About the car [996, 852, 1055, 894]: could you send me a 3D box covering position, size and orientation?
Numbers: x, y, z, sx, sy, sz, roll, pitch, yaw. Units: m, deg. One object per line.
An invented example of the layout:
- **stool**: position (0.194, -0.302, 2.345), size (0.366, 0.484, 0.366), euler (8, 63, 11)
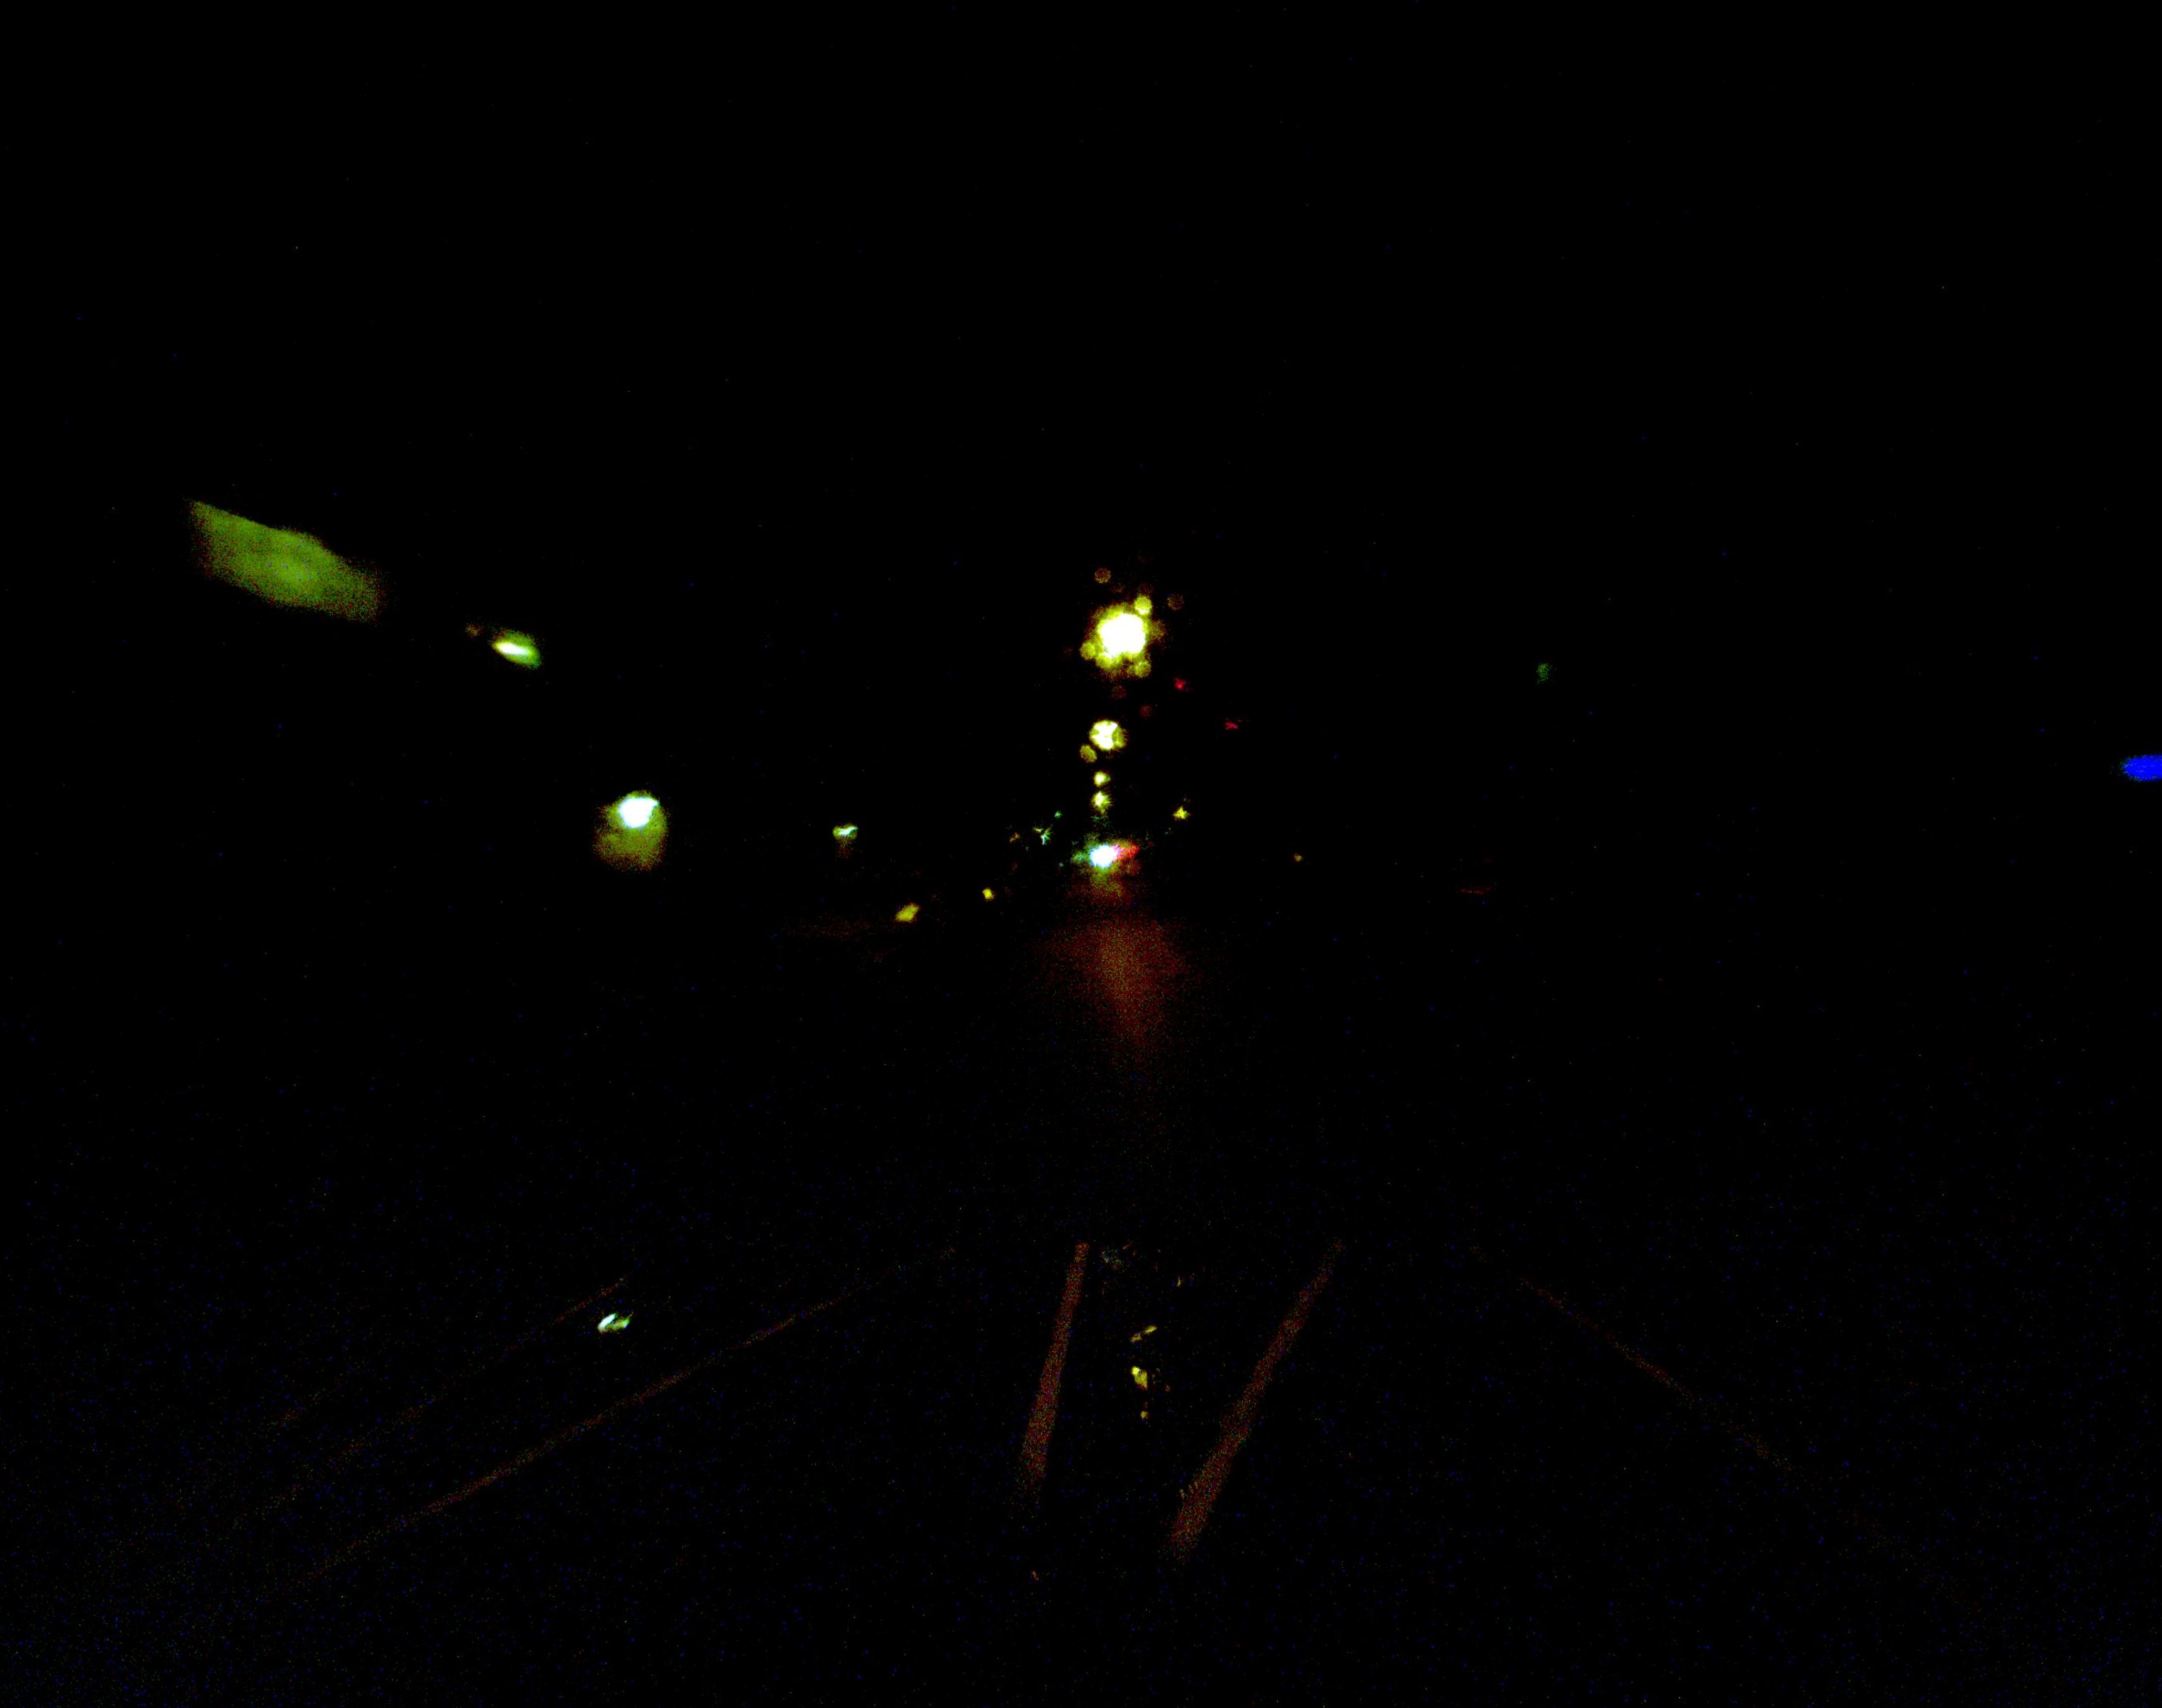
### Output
- **car**: position (-2.234, 0.737, 31.661), size (1.829, 1.539, 4.353), euler (2, 0, 3)

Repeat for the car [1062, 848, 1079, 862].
- **car**: position (-1.231, 0.138, 84.718), size (1.800, 1.464, 3.950), euler (1, 0, -2)

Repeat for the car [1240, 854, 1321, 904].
- **car**: position (6.737, 0.775, 26.203), size (1.640, 1.448, 4.934), euler (3, 0, 3)

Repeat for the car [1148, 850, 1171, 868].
- **car**: position (6.787, 0.412, 66.375), size (1.669, 1.531, 4.391), euler (2, 0, 2)

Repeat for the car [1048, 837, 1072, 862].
- **car**: position (-1.750, -0.361, 62.966), size (1.800, 1.939, 5.852), euler (1, 0, -2)

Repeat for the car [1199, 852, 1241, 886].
- **car**: position (6.583, 0.658, 36.208), size (1.435, 1.452, 3.374), euler (3, 1, 2)

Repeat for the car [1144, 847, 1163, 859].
- **car**: position (7.816, -0.117, 82.630), size (1.842, 1.261, 4.638), euler (2, 0, 3)

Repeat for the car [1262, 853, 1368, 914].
- **car**: position (6.418, 0.749, 21.278), size (1.602, 1.423, 4.004), euler (3, 0, -1)

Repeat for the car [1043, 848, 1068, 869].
- **car**: position (-1.928, 0.346, 57.176), size (1.800, 1.483, 4.128), euler (1, 0, -2)

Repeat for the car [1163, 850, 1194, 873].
- **car**: position (7.066, 0.488, 55.274), size (1.670, 1.531, 4.391), euler (3, 0, 1)

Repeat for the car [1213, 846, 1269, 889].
- **car**: position (6.519, 0.503, 31.325), size (1.478, 1.610, 3.373), euler (3, 1, -1)

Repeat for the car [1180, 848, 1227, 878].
- **car**: position (7.152, 0.488, 44.846), size (1.751, 1.588, 4.388), euler (3, 0, -4)

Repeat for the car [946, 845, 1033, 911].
- **car**: position (-2.449, 0.593, 21.399), size (1.827, 1.628, 4.488), euler (2, 0, 0)

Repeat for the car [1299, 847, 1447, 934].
- **car**: position (6.196, 0.687, 16.675), size (1.602, 1.596, 4.258), euler (3, 0, 1)

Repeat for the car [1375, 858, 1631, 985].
- **car**: position (6.186, 0.872, 11.800), size (1.602, 1.478, 4.274), euler (3, 0, 1)

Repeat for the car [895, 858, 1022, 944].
- **car**: position (-2.314, 0.829, 15.558), size (1.827, 1.413, 4.488), euler (2, 0, 0)

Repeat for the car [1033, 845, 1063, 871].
- **car**: position (-2.022, 0.231, 47.483), size (1.679, 1.479, 4.279), euler (2, 0, -1)

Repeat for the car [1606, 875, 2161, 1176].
- **car**: position (6.216, 0.957, 5.800), size (1.602, 1.365, 4.067), euler (3, 0, 1)

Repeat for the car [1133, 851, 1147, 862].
- **car**: position (7.848, 0.290, 101.746), size (1.627, 1.464, 3.963), euler (2, 0, 2)

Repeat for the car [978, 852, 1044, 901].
- **car**: position (-2.360, 0.708, 26.766), size (1.804, 1.522, 5.051), euler (2, 0, 0)

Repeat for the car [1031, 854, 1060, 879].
- **car**: position (-1.973, 0.653, 42.947), size (1.460, 1.298, 3.628), euler (2, 0, -1)

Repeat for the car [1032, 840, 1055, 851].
- **car**: position (-7.366, -1.668, 149.404), size (4.021, 2.156, 1.802), euler (2, 1, 7)

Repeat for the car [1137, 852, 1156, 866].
- **car**: position (7.542, 0.533, 87.891), size (1.799, 1.464, 4.396), euler (1, 0, 1)

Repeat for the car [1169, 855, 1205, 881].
- **car**: position (6.907, 0.889, 49.903), size (1.670, 1.531, 4.390), euler (3, 0, -1)

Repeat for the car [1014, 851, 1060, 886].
- **car**: position (-2.080, 0.667, 37.293), size (1.758, 1.539, 4.978), euler (2, 0, 2)

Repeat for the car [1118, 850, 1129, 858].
- **car**: position (8.467, 0.010, 150.623), size (2.044, 1.539, 4.683), euler (0, 0, 2)

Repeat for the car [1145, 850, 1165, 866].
- **car**: position (7.507, 0.409, 77.637), size (1.710, 1.531, 4.059), euler (3, 0, 2)

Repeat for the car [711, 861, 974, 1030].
- **car**: position (-2.649, 0.910, 9.753), size (1.827, 1.522, 4.782), euler (2, 0, 0)
